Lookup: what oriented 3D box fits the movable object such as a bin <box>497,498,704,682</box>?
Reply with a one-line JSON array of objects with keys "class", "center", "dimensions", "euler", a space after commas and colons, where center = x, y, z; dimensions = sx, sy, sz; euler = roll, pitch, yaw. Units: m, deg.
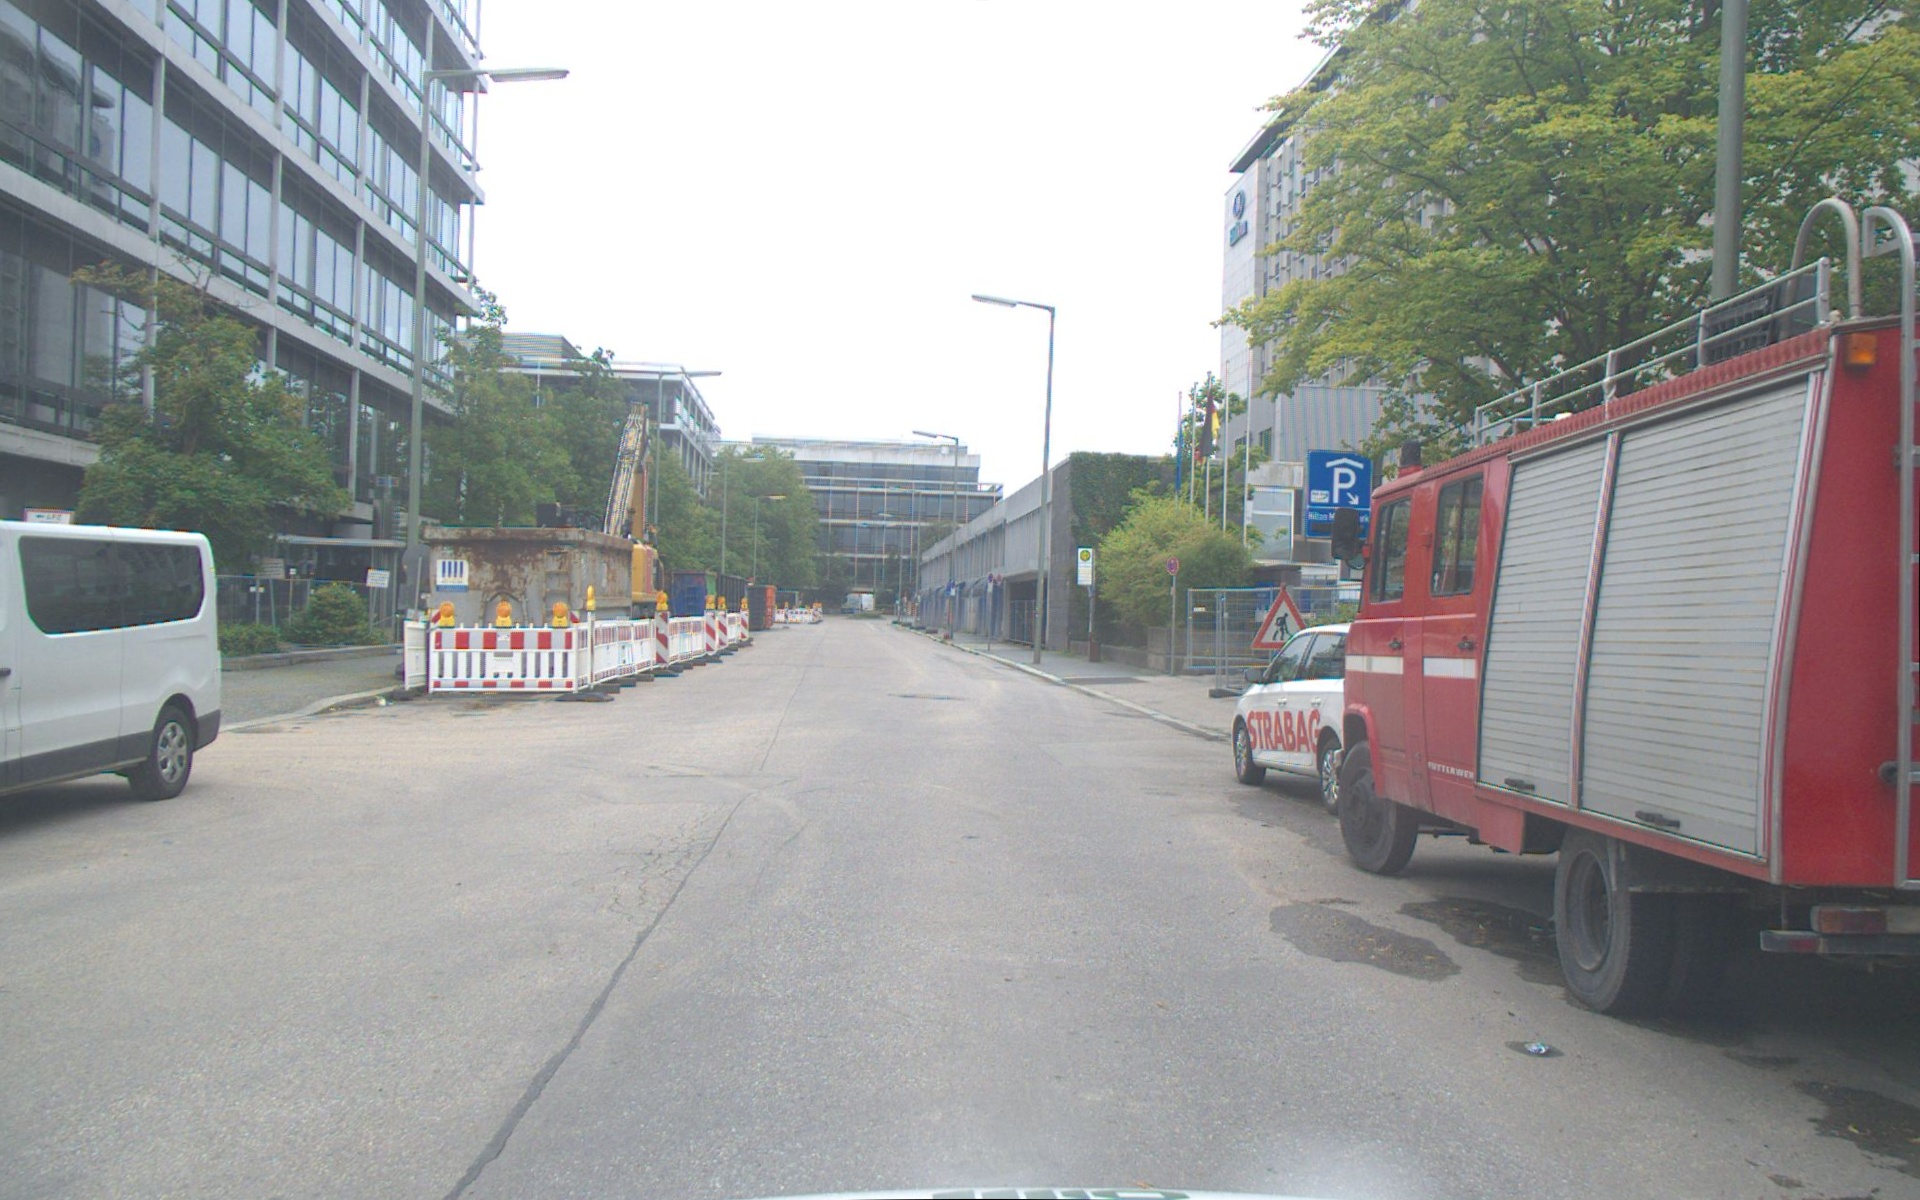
[{"class": "movable object such as a bin", "center": [-8.189, -0.230, 39.008], "dimensions": [3.176, 3.781, 9.004], "euler": [1, 0, -2]}]

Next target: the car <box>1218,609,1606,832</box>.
[{"class": "car", "center": [3.612, 0.892, 14.087], "dimensions": [1.742, 1.577, 4.251], "euler": [1, 0, -6]}]

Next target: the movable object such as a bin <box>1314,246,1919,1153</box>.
[{"class": "movable object such as a bin", "center": [3.352, 0.304, 7.675], "dimensions": [2.061, 2.501, 6.186], "euler": [1, 0, 0]}]

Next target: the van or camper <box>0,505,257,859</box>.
[{"class": "van or camper", "center": [-6.522, 0.457, 10.203], "dimensions": [1.952, 2.049, 5.377], "euler": [1, 0, 1]}]
